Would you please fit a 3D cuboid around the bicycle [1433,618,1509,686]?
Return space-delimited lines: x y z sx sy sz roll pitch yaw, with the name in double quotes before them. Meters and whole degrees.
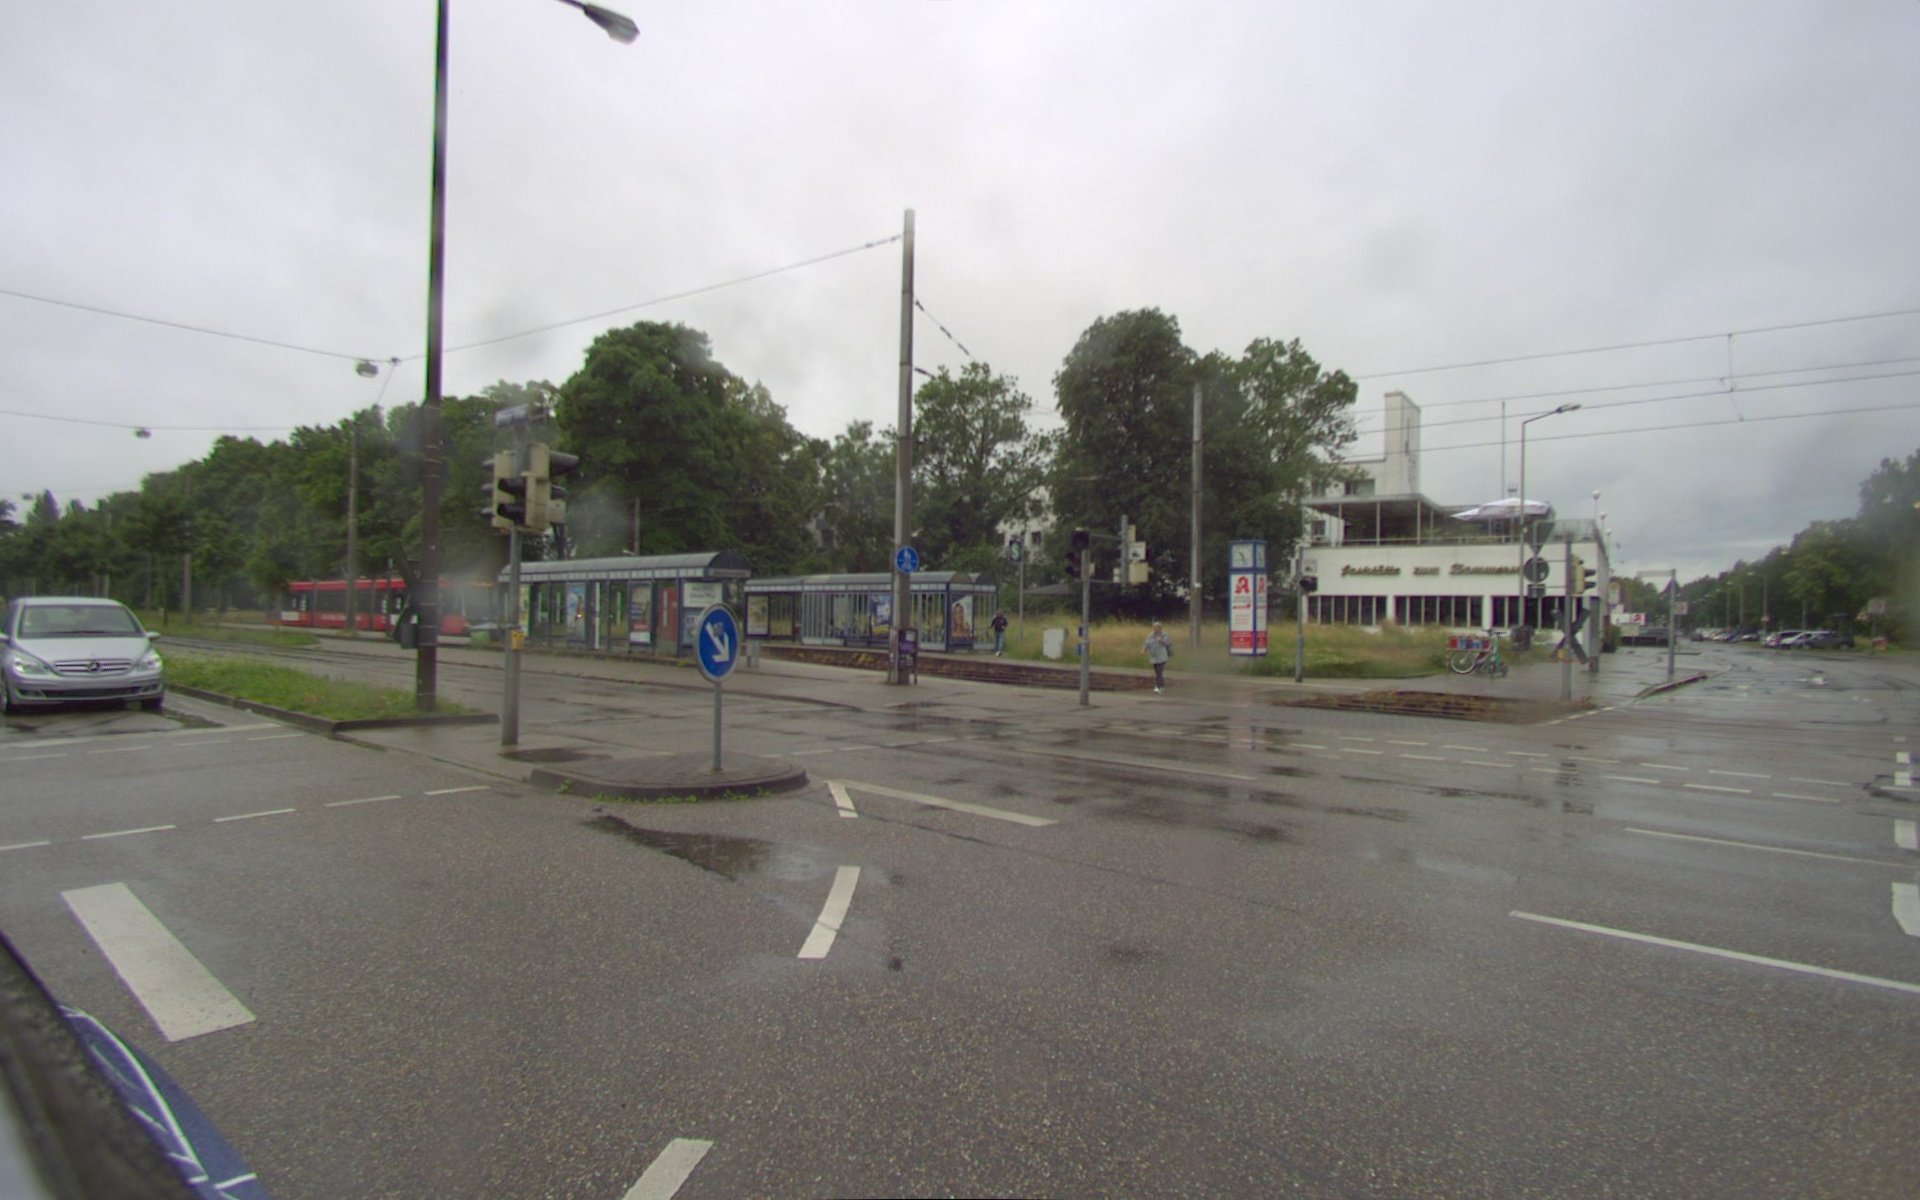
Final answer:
"bicycle" 13.889 1.388 27.535 1.734 1.774 0.633 -1 -2 43

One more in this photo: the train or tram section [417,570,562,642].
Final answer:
"train or tram section" -24.599 0.336 52.641 9.277 3.415 3.495 0 -2 43

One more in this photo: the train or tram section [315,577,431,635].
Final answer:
"train or tram section" -37.593 0.398 64.621 10.260 3.427 3.495 0 -2 43

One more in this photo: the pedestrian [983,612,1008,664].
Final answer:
"pedestrian" 1.278 1.338 36.251 0.680 1.806 0.623 0 1 41

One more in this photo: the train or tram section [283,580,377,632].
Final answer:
"train or tram section" -43.913 0.424 70.454 7.902 3.438 3.495 0 -2 43

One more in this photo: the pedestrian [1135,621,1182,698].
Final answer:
"pedestrian" 4.496 1.320 22.918 0.782 1.670 0.794 0 1 39

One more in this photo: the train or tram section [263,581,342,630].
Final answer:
"train or tram section" -48.530 0.440 74.697 5.769 3.444 3.495 0 -2 43

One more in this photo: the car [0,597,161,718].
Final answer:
"car" -13.274 0.758 14.987 4.014 1.556 1.717 -1 -1 43

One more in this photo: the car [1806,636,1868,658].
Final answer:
"car" 77.590 4.130 89.613 3.991 1.716 1.853 0 1 35

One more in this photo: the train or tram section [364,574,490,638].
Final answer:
"train or tram section" -30.898 0.369 58.465 9.277 3.416 3.495 0 -2 43

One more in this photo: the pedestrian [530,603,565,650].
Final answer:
"pedestrian" -14.317 0.924 35.143 0.929 1.609 0.795 0 -1 45

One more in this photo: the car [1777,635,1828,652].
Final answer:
"car" 86.577 4.440 104.017 3.996 1.508 1.678 1 1 39

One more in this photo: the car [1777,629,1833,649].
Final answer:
"car" 81.551 3.773 97.749 3.991 1.716 1.853 0 1 35
